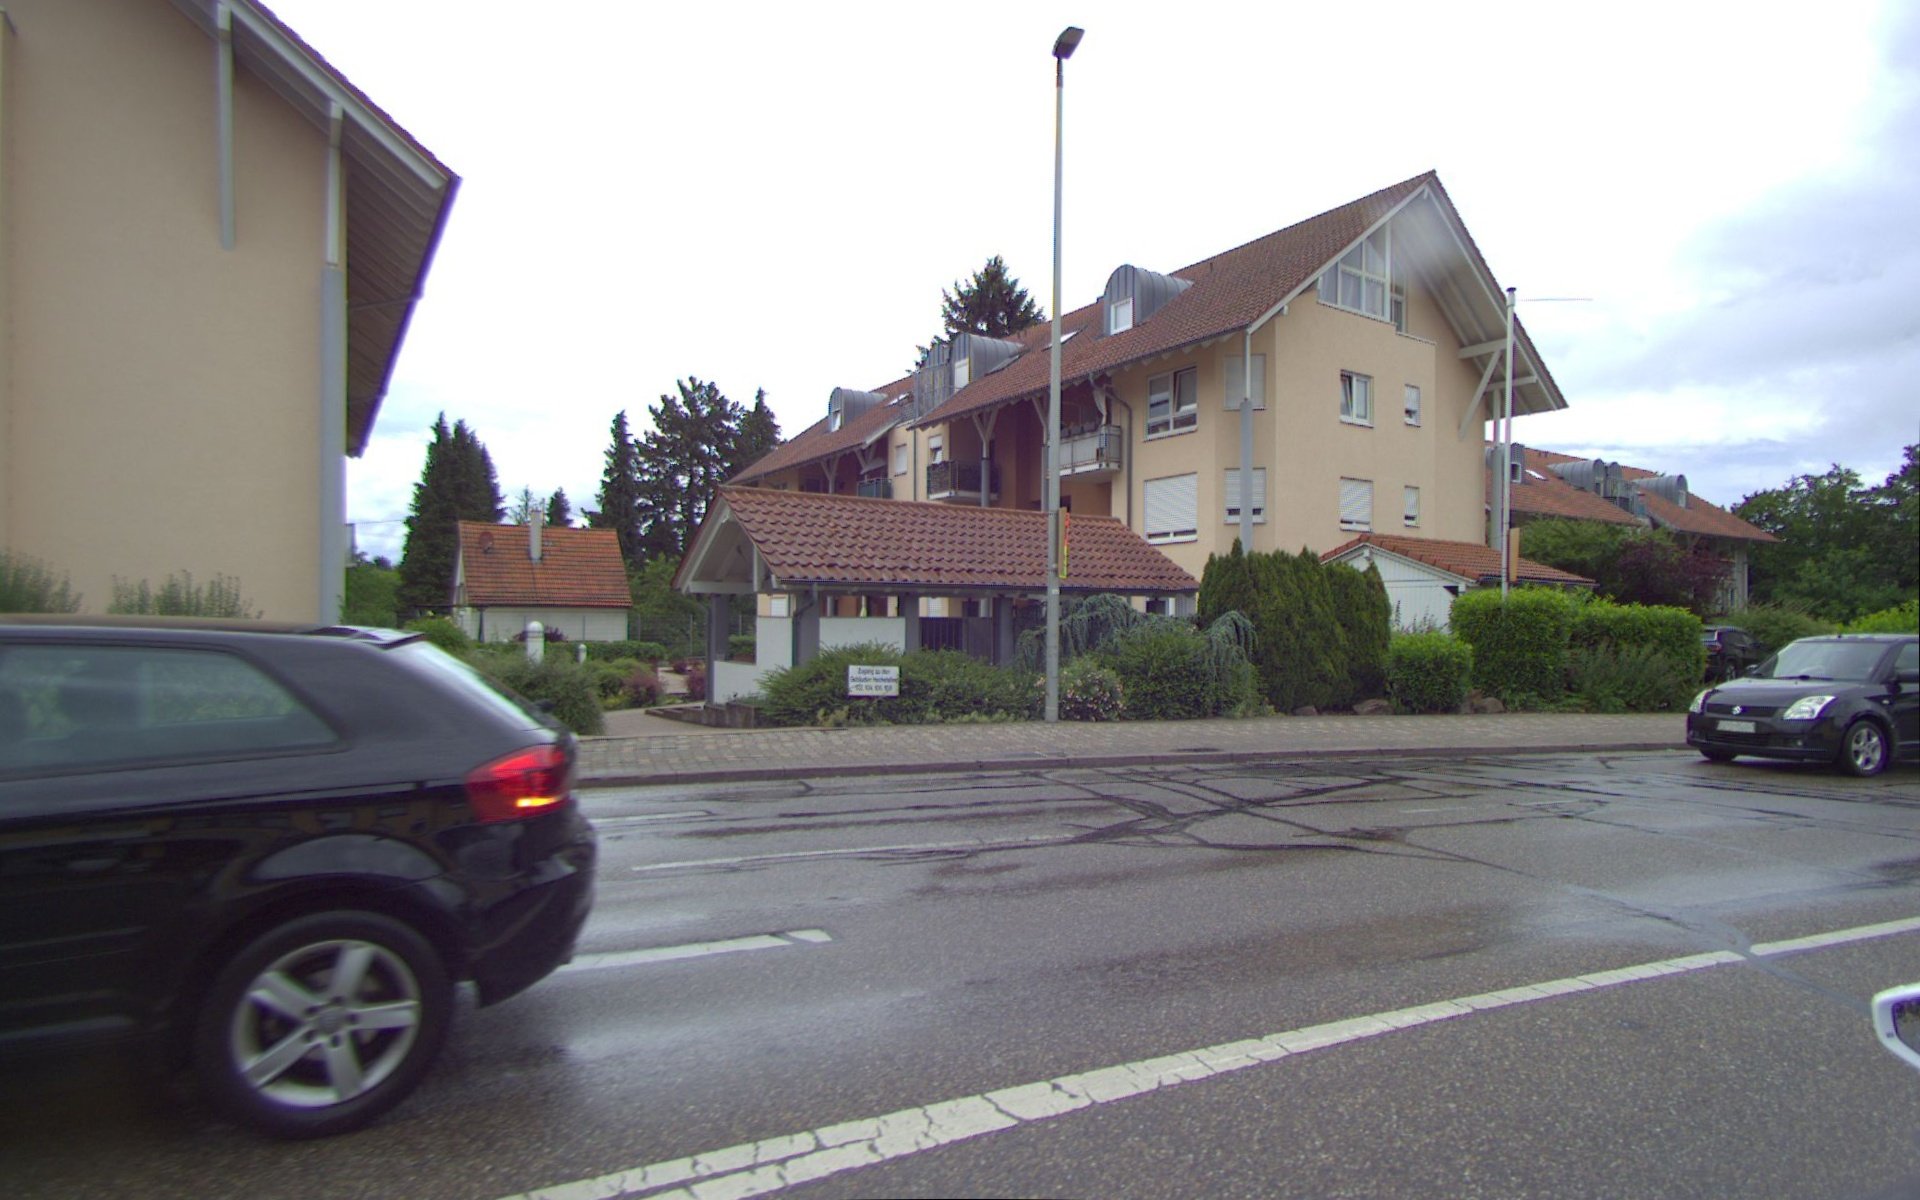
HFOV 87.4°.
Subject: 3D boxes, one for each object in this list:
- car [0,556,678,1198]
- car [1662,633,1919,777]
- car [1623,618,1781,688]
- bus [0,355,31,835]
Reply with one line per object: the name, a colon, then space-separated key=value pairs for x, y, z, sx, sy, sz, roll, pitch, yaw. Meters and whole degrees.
car: x=-3.175 y=0.678 z=3.038 sx=4.234 sy=1.538 sz=1.855 roll=1 pitch=-2 yaw=-25
car: x=10.103 y=1.096 z=11.347 sx=3.633 sy=1.441 sz=1.588 roll=0 pitch=-2 yaw=-15
car: x=20.316 y=1.444 z=27.498 sx=3.952 sy=1.672 sz=1.985 roll=4 pitch=-1 yaw=-29
bus: x=-9.350 y=-0.119 z=3.642 sx=8.301 sy=3.039 sz=2.575 roll=1 pitch=-2 yaw=-28
